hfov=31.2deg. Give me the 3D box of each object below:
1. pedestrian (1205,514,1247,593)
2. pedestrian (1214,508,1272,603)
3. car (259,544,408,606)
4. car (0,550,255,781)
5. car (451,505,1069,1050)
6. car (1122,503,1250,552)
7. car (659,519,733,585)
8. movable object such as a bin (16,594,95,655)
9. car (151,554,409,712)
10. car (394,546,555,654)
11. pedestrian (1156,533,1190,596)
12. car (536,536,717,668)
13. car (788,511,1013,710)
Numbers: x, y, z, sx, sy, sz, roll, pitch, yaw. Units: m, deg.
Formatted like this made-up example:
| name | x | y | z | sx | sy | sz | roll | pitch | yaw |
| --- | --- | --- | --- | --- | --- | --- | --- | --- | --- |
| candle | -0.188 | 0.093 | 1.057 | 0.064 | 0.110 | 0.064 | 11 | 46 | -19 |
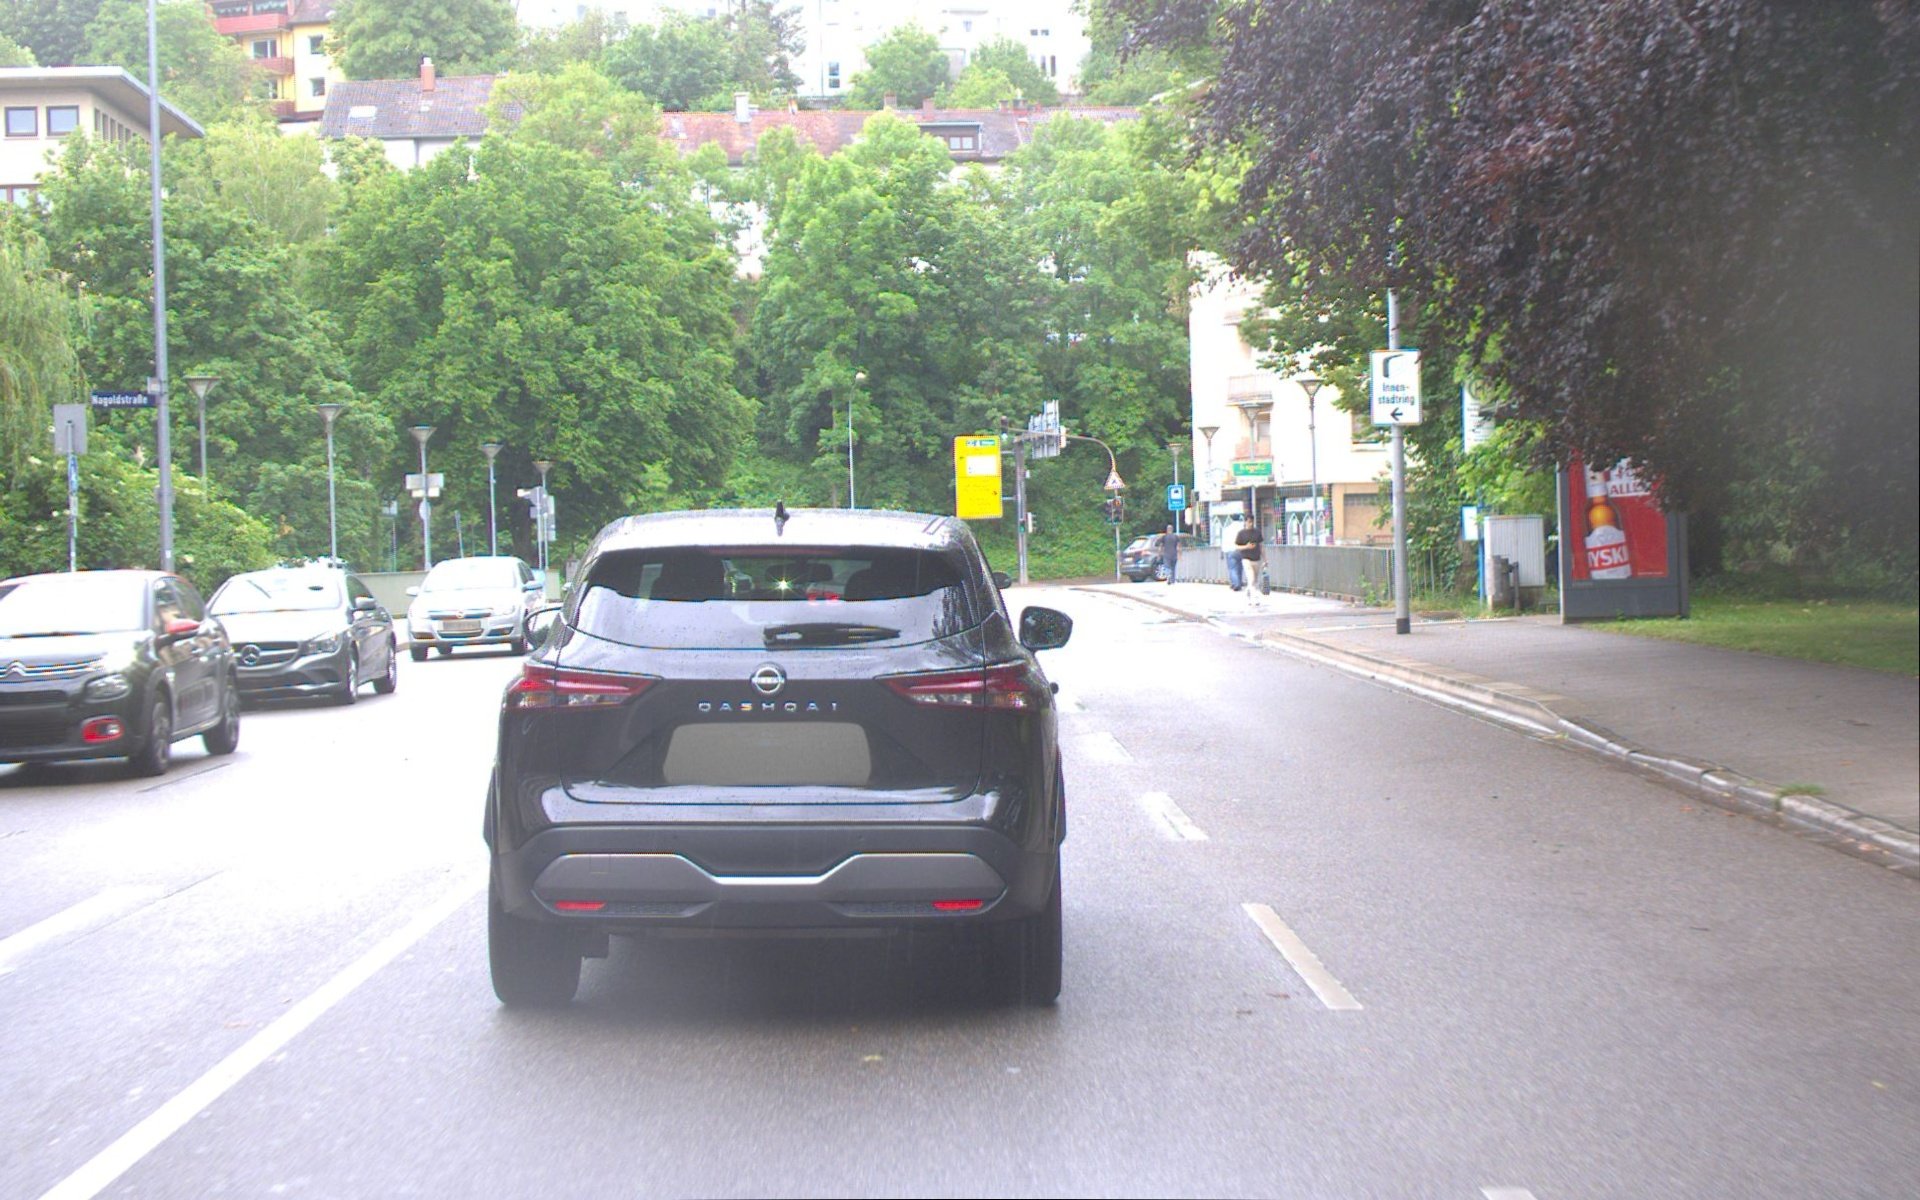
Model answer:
| name | x | y | z | sx | sy | sz | roll | pitch | yaw |
| --- | --- | --- | --- | --- | --- | --- | --- | --- | --- |
| pedestrian | 5.988 | -1.050 | 77.351 | 0.780 | 1.746 | 1.060 | -2 | 0 | 11 |
| pedestrian | 5.161 | -0.813 | 62.825 | 0.847 | 1.670 | 1.168 | -4 | 0 | -1 |
| car | -20.544 | -0.817 | 112.882 | 4.741 | 1.848 | 2.001 | -2 | 3 | -9 |
| car | -6.493 | 0.441 | 25.547 | 1.686 | 1.486 | 3.890 | -3 | 2 | -1 |
| car | -0.612 | 0.482 | 12.164 | 1.811 | 1.597 | 4.000 | -1 | 1 | -1 |
| car | 8.542 | -2.741 | 129.931 | 4.366 | 1.643 | 1.884 | -3 | 1 | -26 |
| car | -9.852 | -1.831 | 128.747 | 2.289 | 2.300 | 6.510 | -3 | 2 | -1 |
| movable object such as a bin | -13.742 | 0.367 | 52.250 | 0.965 | 0.874 | 0.832 | -2 | 0 | 0 |
| car | -7.139 | 0.299 | 36.530 | 1.813 | 1.410 | 4.683 | -3 | 2 | -1 |
| car | -7.171 | -0.029 | 51.114 | 1.813 | 1.410 | 4.049 | -3 | 2 | -1 |
| pedestrian | 5.799 | -0.964 | 93.500 | 0.761 | 1.671 | 0.781 | -4 | 1 | 0 |
| car | -4.021 | -0.016 | 42.062 | 1.794 | 1.410 | 4.336 | -3 | 2 | -1 |
| car | -0.505 | 0.042 | 29.724 | 1.811 | 1.597 | 4.000 | 0 | 1 | -1 |
